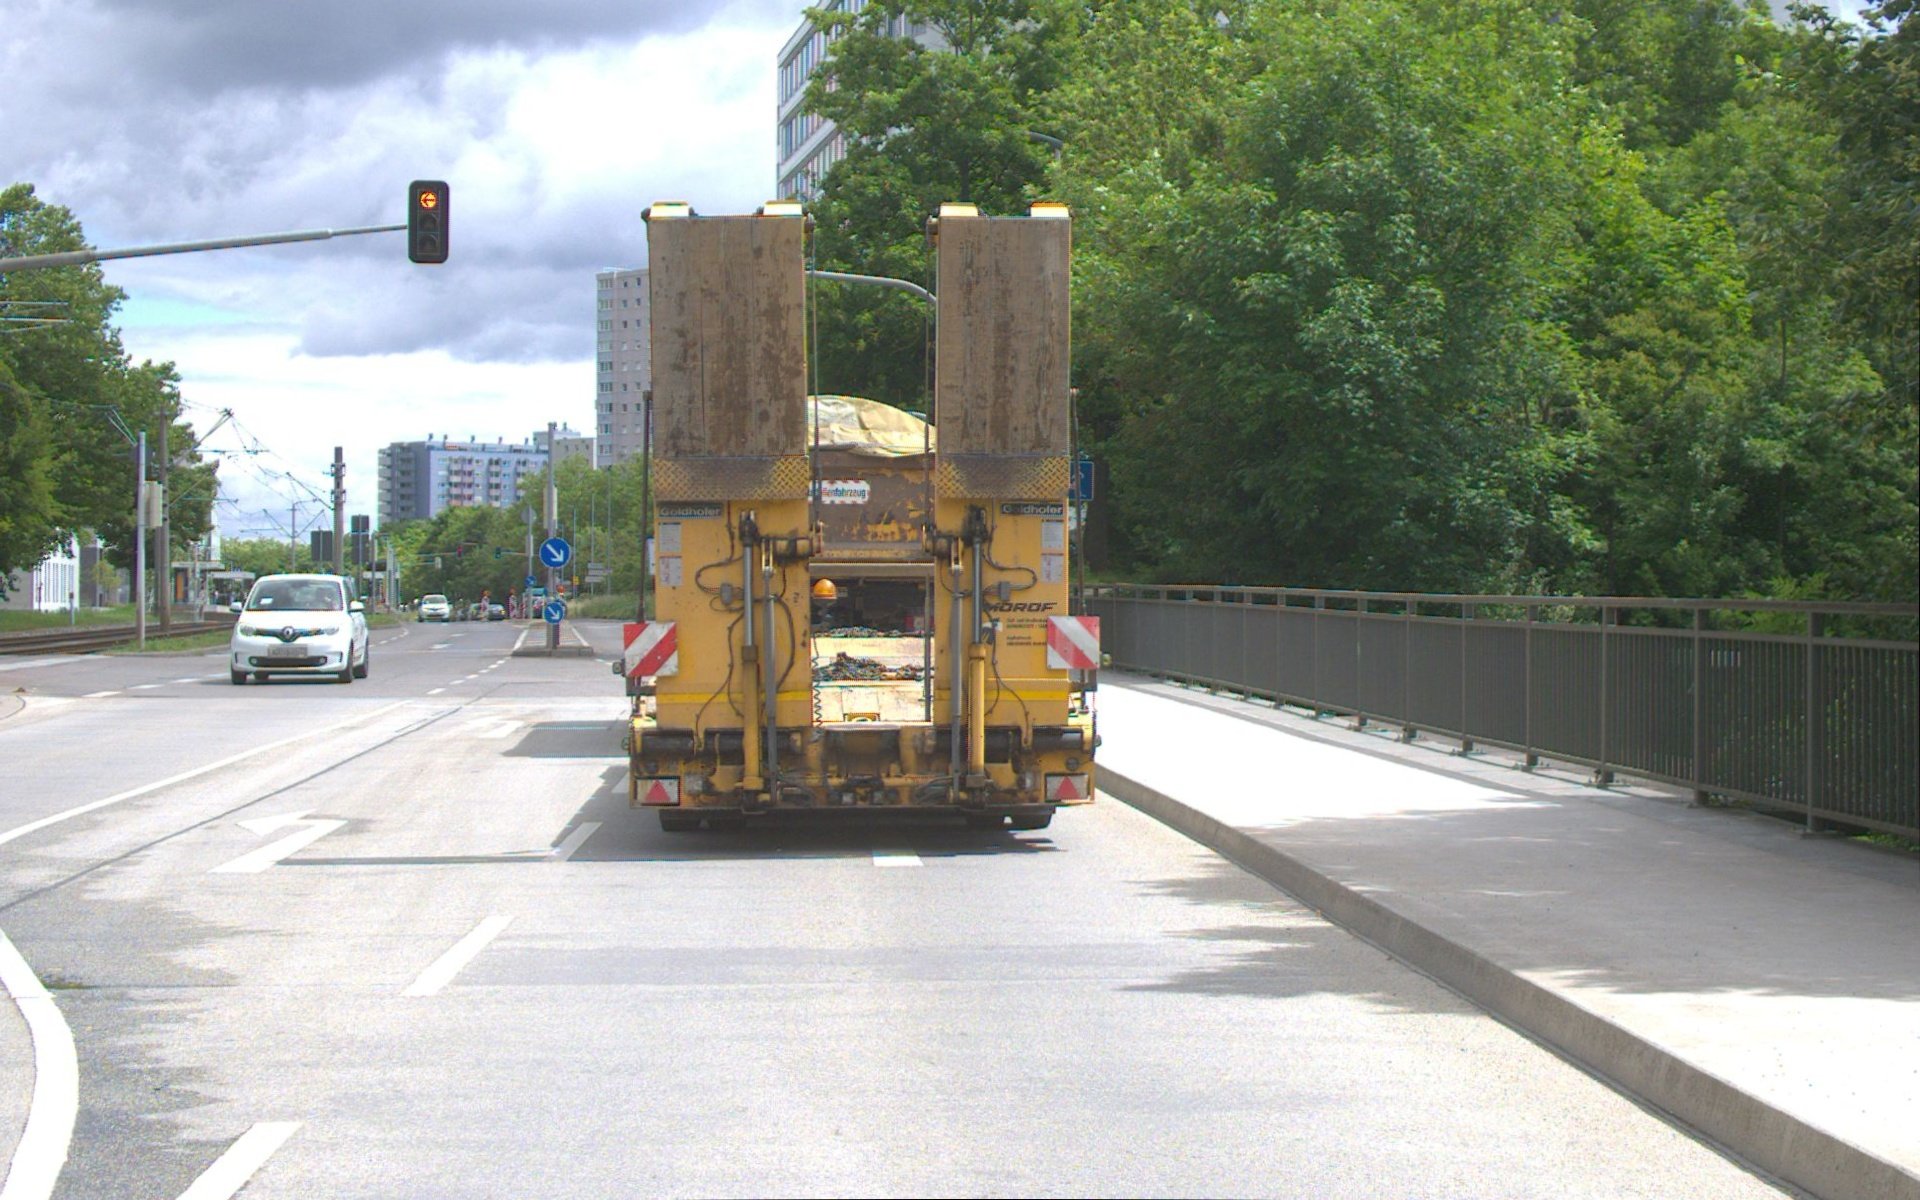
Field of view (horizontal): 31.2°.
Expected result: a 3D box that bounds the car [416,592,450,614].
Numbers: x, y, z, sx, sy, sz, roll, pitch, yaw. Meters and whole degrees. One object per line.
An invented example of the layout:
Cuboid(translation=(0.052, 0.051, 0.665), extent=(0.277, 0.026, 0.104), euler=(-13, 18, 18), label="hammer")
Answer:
Cuboid(translation=(-30.772, 0.157, 200.766), extent=(1.783, 1.267, 4.346), euler=(0, 0, -6), label="car")

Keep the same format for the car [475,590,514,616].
Cuboid(translation=(-22.992, 0.150, 169.973), extent=(1.783, 1.267, 4.346), euler=(0, 0, -6), label="car")

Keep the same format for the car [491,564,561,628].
Cuboid(translation=(-13.688, -0.141, 108.541), extent=(1.993, 1.919, 4.001), euler=(2, 0, -6), label="car")

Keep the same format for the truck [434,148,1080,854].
Cuboid(translation=(-1.114, -0.539, 24.484), extent=(3.316, 3.638, 12.562), euler=(2, 0, 0), label="truck")

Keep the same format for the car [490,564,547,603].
Cuboid(translation=(-16.874, -0.639, 131.457), extent=(1.993, 1.415, 4.001), euler=(2, 0, -6), label="car")

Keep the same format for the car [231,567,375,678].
Cuboid(translation=(-9.343, 0.311, 49.081), extent=(1.593, 1.521, 3.655), euler=(0, 0, -4), label="car")

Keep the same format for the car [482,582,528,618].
Cuboid(translation=(-21.911, -0.008, 165.799), extent=(1.993, 1.612, 4.001), euler=(2, 0, -5), label="car")

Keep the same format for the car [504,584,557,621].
Cuboid(translation=(-17.644, 0.101, 141.429), extent=(1.993, 1.415, 4.001), euler=(2, 0, -6), label="car")
